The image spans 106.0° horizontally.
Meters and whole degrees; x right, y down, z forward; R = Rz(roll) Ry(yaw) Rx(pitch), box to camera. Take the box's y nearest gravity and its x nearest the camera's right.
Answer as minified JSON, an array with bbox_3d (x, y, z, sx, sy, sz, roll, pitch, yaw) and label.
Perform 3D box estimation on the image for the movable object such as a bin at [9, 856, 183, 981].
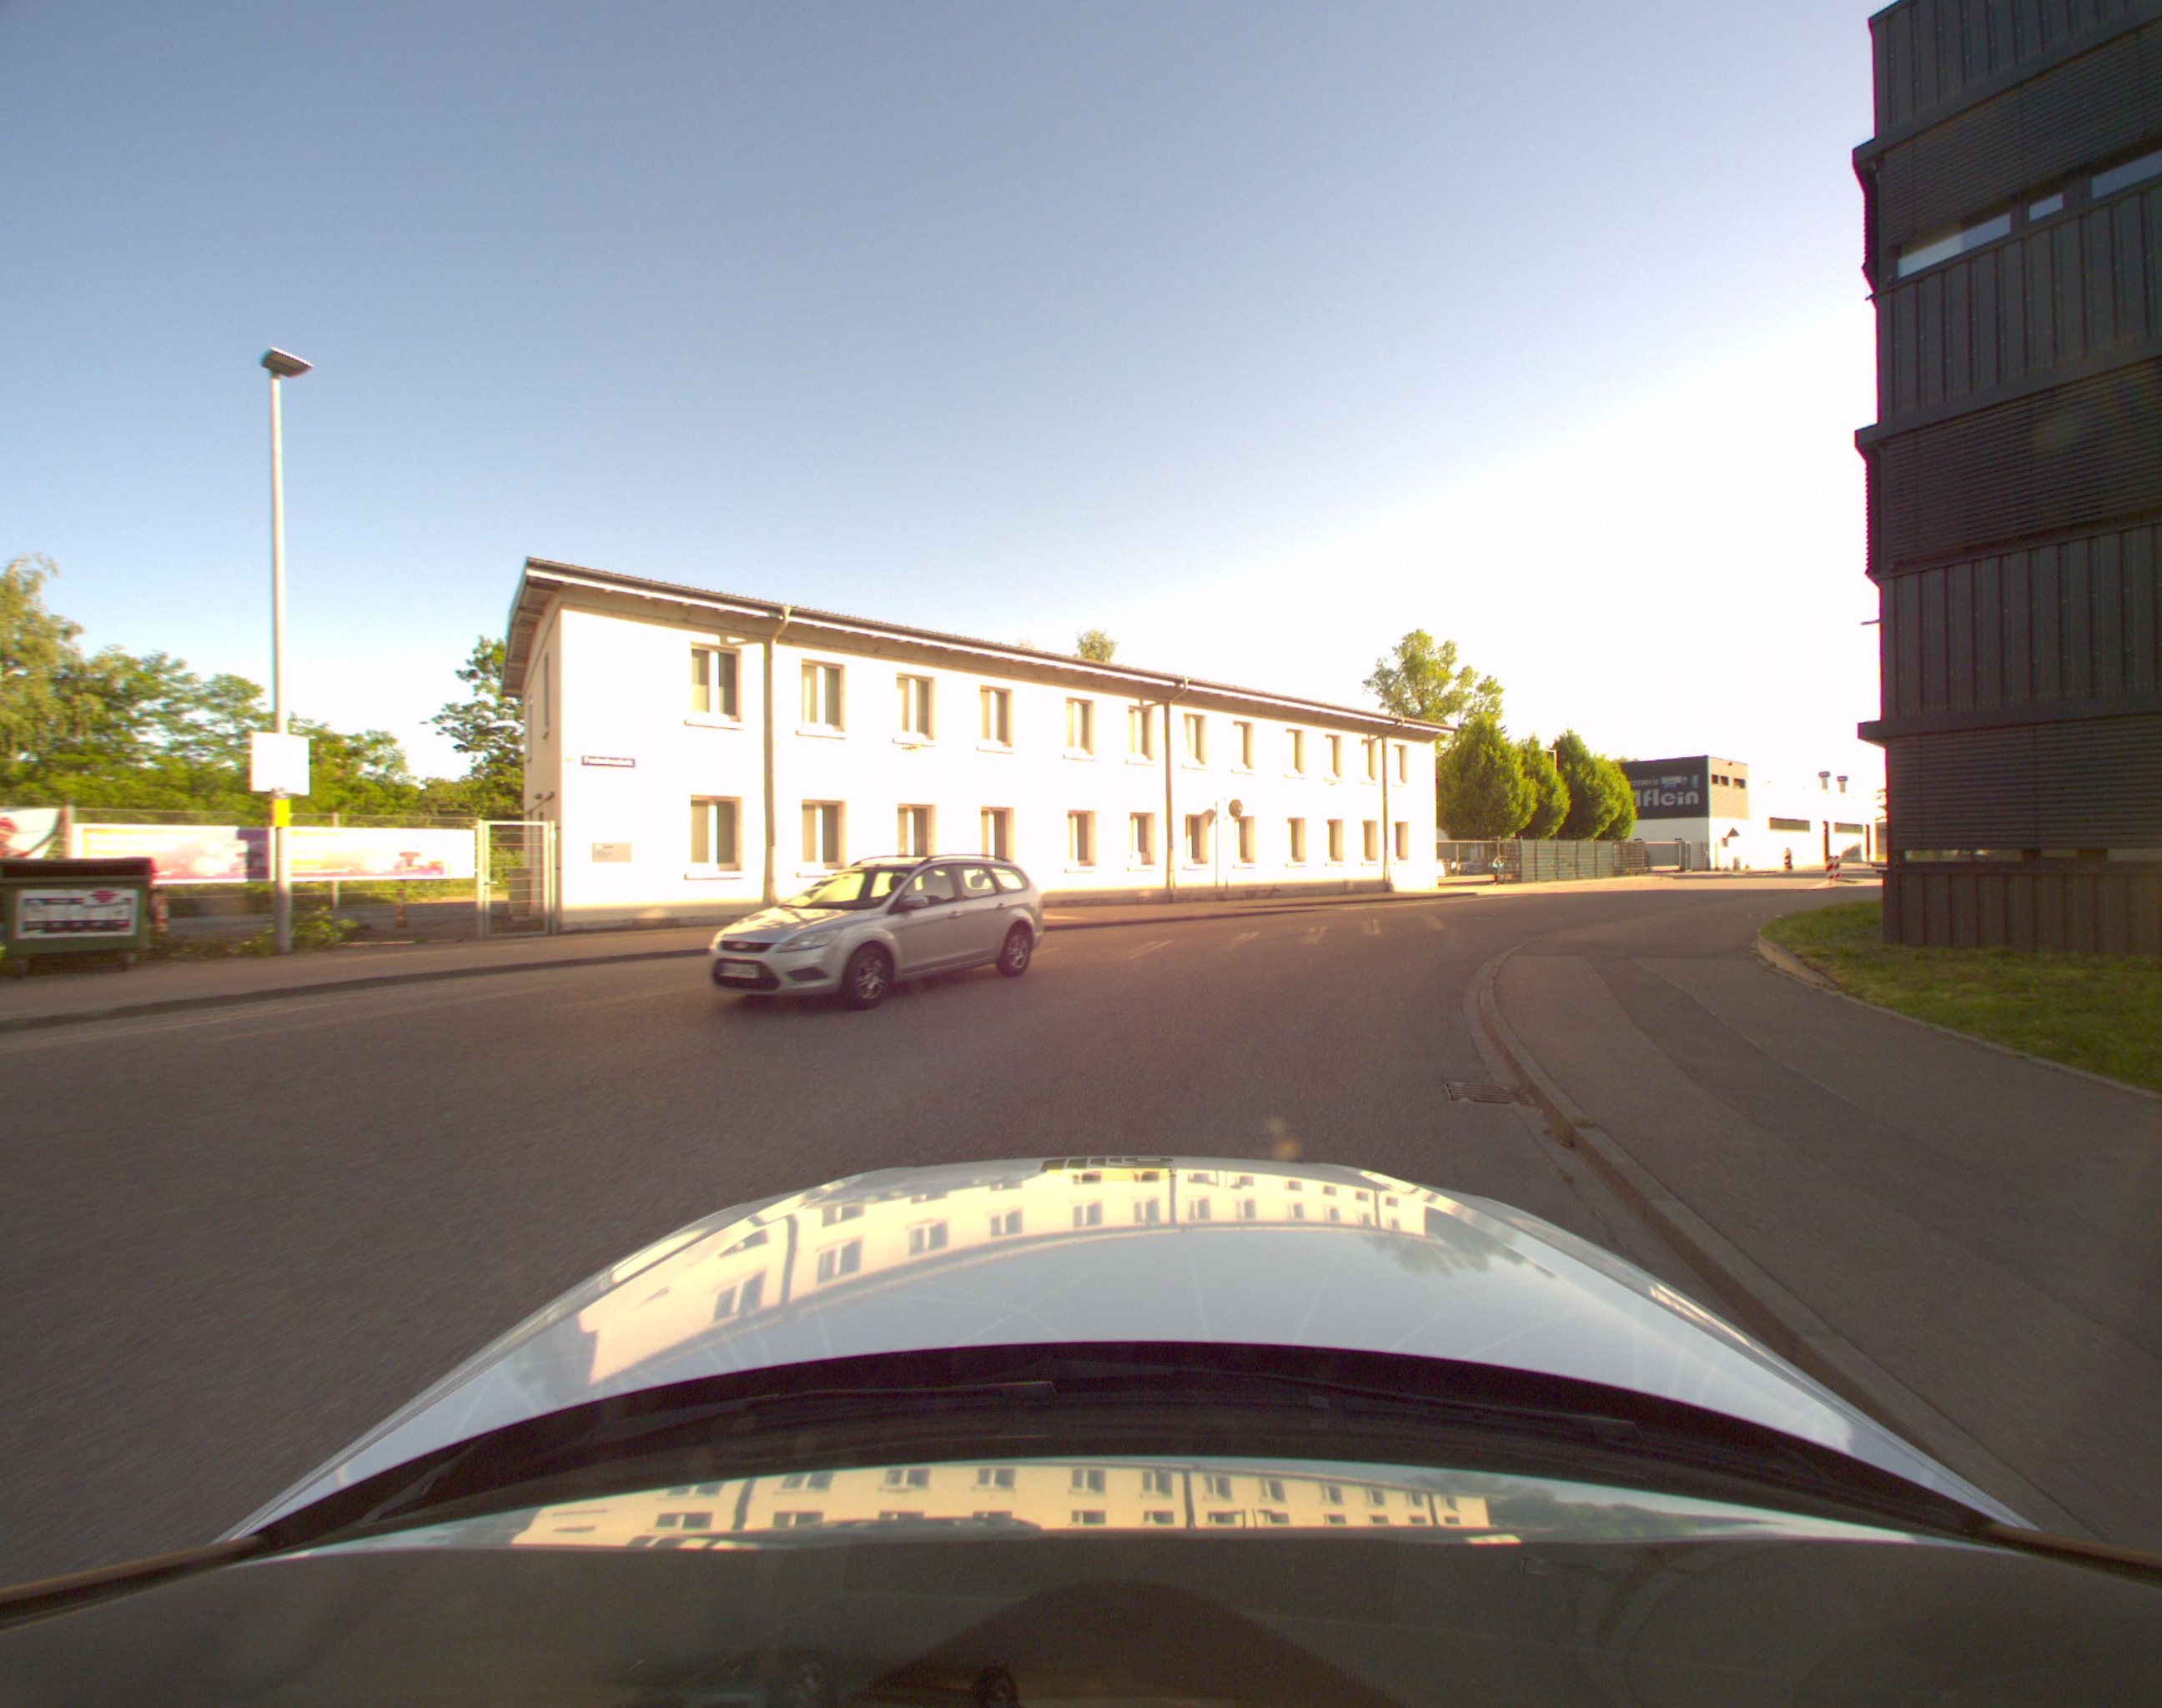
[{"bbox_3d":[-12.683,0.767,10.550,1.187,1.471,1.381,-1,-1,41],"label":"movable object such as a bin"}]

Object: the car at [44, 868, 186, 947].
[{"bbox_3d":[-22.693,1.161,19.121,3.948,1.618,2.013,-1,0,39],"label":"car"}]

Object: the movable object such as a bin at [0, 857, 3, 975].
[{"bbox_3d":[-13.637,0.775,9.432,1.347,1.471,1.297,-1,-1,41],"label":"movable object such as a bin"}]

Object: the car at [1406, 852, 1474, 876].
[{"bbox_3d":[25.240,0.710,57.377,1.884,1.540,3.955,-1,-1,-37],"label":"car"}]

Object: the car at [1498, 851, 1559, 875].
[{"bbox_3d":[28.660,0.552,52.158,4.019,1.451,1.977,0,0,-37],"label":"car"}]

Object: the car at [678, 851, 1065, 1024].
[{"bbox_3d":[-2.124,0.736,9.640,1.722,1.505,4.530,1,1,30],"label":"car"}]

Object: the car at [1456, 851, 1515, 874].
[{"bbox_3d":[26.933,0.534,54.215,4.019,1.451,1.977,0,0,-37],"label":"car"}]

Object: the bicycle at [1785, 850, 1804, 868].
[{"bbox_3d":[51.944,0.365,59.277,2.183,1.288,0.661,-1,-1,-40],"label":"bicycle"}]

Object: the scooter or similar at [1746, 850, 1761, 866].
[{"bbox_3d":[51.159,0.273,61.933,1.761,1.203,0.503,0,2,-38],"label":"scooter or similar"}]
